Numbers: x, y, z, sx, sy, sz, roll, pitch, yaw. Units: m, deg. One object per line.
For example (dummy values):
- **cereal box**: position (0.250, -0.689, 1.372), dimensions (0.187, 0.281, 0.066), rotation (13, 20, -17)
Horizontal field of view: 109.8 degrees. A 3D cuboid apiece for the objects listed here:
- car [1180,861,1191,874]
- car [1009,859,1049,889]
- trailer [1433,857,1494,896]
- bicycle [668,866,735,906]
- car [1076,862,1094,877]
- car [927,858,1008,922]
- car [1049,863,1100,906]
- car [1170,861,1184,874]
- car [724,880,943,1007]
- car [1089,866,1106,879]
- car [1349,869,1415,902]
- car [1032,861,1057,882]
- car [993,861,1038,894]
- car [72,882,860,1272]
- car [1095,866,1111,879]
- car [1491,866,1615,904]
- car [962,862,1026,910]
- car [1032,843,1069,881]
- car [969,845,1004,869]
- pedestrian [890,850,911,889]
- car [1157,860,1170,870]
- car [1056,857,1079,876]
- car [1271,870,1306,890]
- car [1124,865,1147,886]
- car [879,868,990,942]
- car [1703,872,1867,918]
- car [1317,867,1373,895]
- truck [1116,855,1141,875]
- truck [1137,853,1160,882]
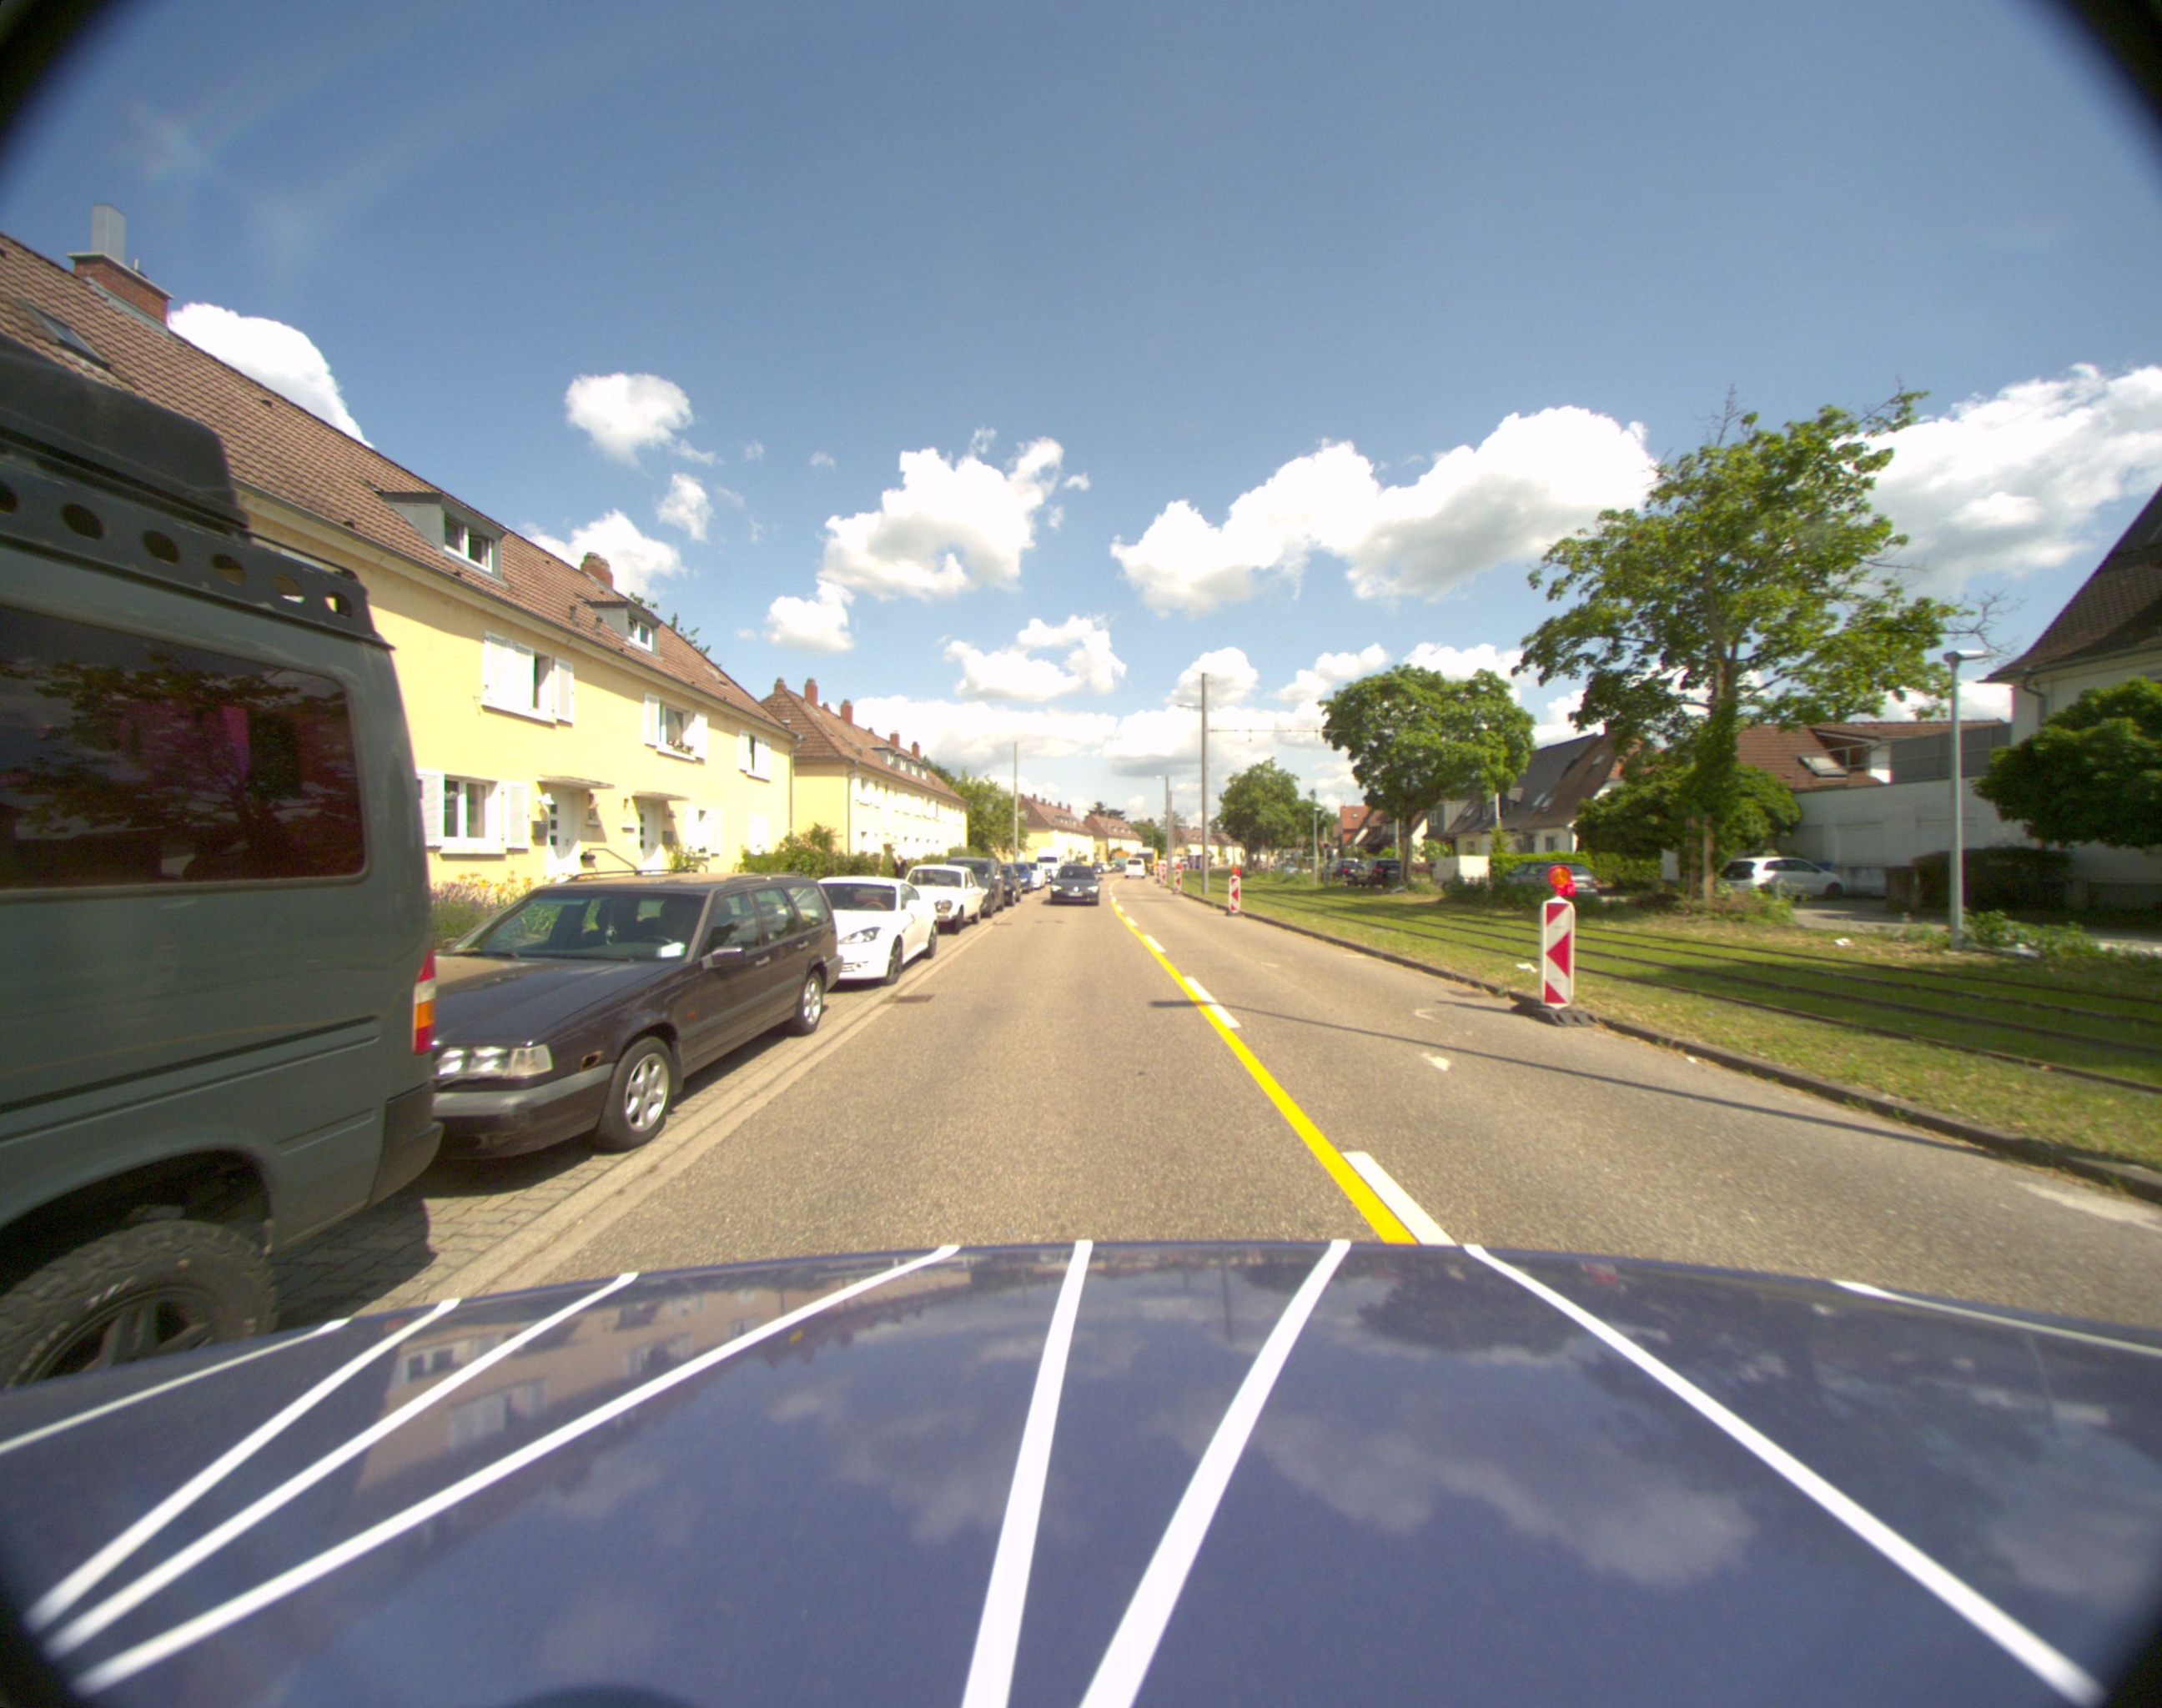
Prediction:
- **car**: position (19.799, 2.588, 143.689), dimensions (1.694, 2.417, 3.579), rotation (0, -1, 16)
- **car**: position (-2.765, 1.040, 41.028), dimensions (1.756, 1.480, 4.628), rotation (2, 0, 1)
- **trailer**: position (15.544, 0.877, 30.946), dimensions (1.302, 1.510, 2.282), rotation (1, 0, 0)
- **bicycle**: position (-10.503, 0.893, 21.032), dimensions (1.693, 1.096, 0.290), rotation (0, 0, 0)
- **car**: position (0.472, 1.591, 79.024), dimensions (1.513, 1.489, 3.408), rotation (1, 0, 6)
- **car**: position (-3.149, 0.957, 21.826), dimensions (1.683, 1.620, 4.271), rotation (1, 0, 0)
- **car**: position (-0.242, 1.090, 28.680), dimensions (1.786, 1.412, 4.289), rotation (-1, 1, 0)
- **car**: position (16.533, 2.324, 131.268), dimensions (1.839, 2.042, 3.873), rotation (1, 0, 15)
- **car**: position (-3.171, 1.083, 10.647), dimensions (1.725, 1.287, 4.128), rotation (1, 0, -1)
- **car**: position (1.982, 2.205, 91.218), dimensions (1.512, 1.489, 3.577), rotation (1, 0, 10)
- **car**: position (16.205, 1.658, 41.102), dimensions (1.910, 1.568, 4.102), rotation (4, -2, 1)
- **car**: position (-2.370, 1.119, 49.744), dimensions (1.358, 1.299, 3.543), rotation (1, 0, 1)
- **car**: position (-3.077, 1.062, 36.221), dimensions (1.702, 1.421, 3.898), rotation (1, 0, 1)
- **car**: position (-3.199, 0.994, 5.497), dimensions (1.725, 1.393, 4.837), rotation (1, 0, 0)
- **car**: position (2.803, 2.333, 96.059), dimensions (1.512, 1.489, 3.577), rotation (1, 0, 9)
- **car**: position (15.715, 1.005, 25.540), dimensions (1.786, 1.087, 3.836), rotation (1, 0, 0)
- **car**: position (-2.997, 1.066, 26.978), dimensions (1.689, 1.428, 4.516), rotation (2, 1, 0)
- **car**: position (-2.114, 0.567, 54.470), dimensions (1.923, 2.522, 5.346), rotation (1, 0, 5)
- **car**: position (-7.175, 0.249, 58.088), dimensions (1.926, 1.736, 4.048), rotation (1, -1, 3)
- **pedestrian**: position (-7.728, 0.653, 32.577), dimensions (0.617, 1.629, 0.901), rotation (2, 1, 1)
- **car**: position (12.841, 1.740, 118.065), dimensions (1.512, 1.489, 3.578), rotation (1, 0, 12)
- **car**: position (-1.090, 1.032, 63.534), dimensions (1.513, 1.489, 3.408), rotation (1, 0, 6)
- **car**: position (17.695, 2.190, 64.991), dimensions (1.998, 1.530, 4.323), rotation (1, 0, 3)
- **car**: position (5.333, 2.071, 74.732), dimensions (1.944, 1.931, 4.562), rotation (2, -1, 1)
- **car**: position (-3.195, 1.063, 17.344), dimensions (1.654, 1.410, 4.026), rotation (1, 0, 1)
- **car**: position (24.923, 1.461, 27.016), dimensions (3.997, 1.518, 2.001), rotation (1, -2, 0)
- **car**: position (16.065, 1.630, 46.461), dimensions (1.998, 1.530, 4.322), rotation (1, 0, 1)
- **truck**: position (7.582, 1.691, 119.274), dimensions (2.529, 2.931, 7.869), rotation (1, 0, 14)
- **truck**: position (8.472, 1.662, 95.102), dimensions (2.702, 3.346, 8.053), rotation (1, 0, 5)
